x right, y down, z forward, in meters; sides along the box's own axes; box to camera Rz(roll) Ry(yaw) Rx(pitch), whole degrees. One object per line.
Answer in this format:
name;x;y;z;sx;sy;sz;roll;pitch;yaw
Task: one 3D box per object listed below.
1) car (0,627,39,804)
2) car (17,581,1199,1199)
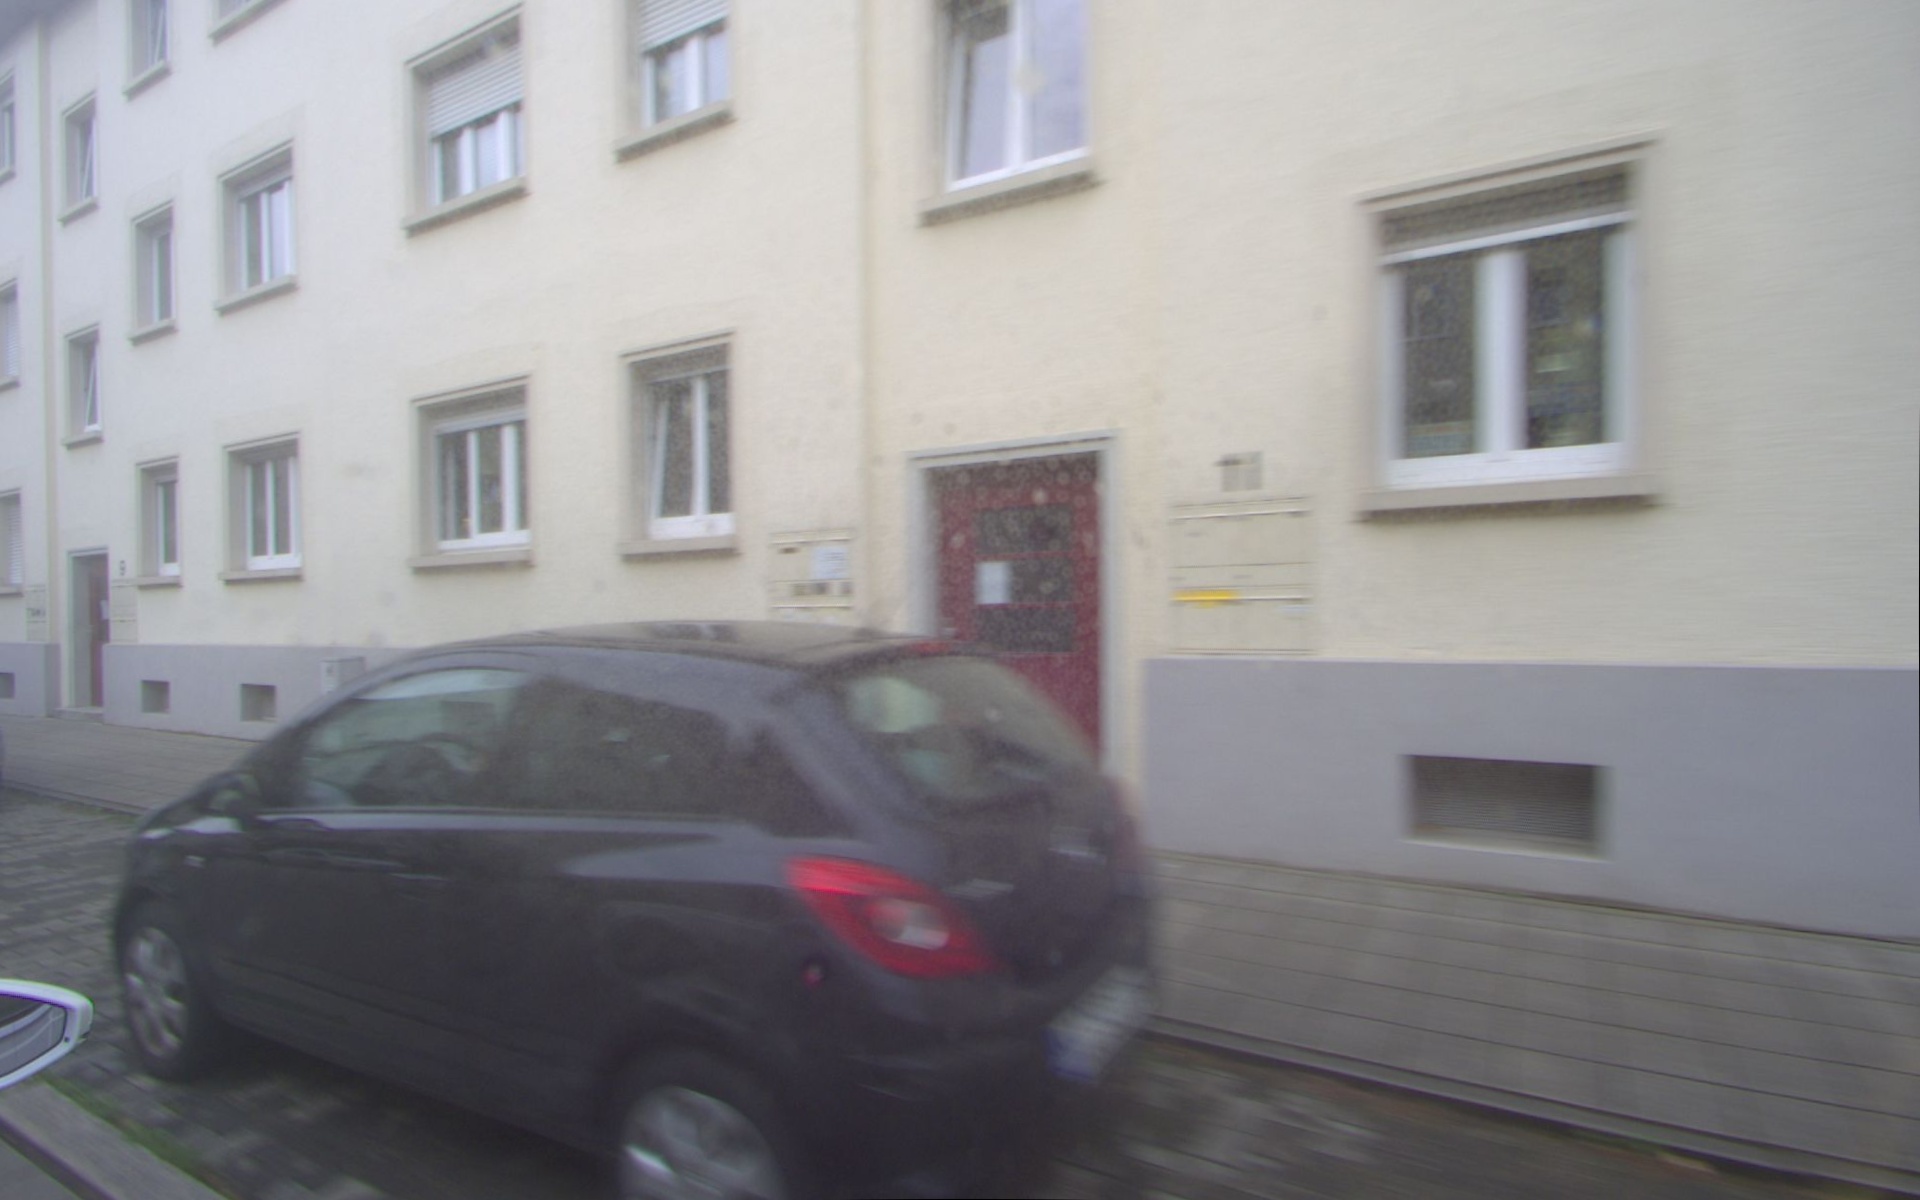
car;-9.906;0.967;8.700;3.777;1.468;1.846;-1;-1;32
car;-1.378;0.781;3.497;4.000;1.537;1.723;-1;-1;30
